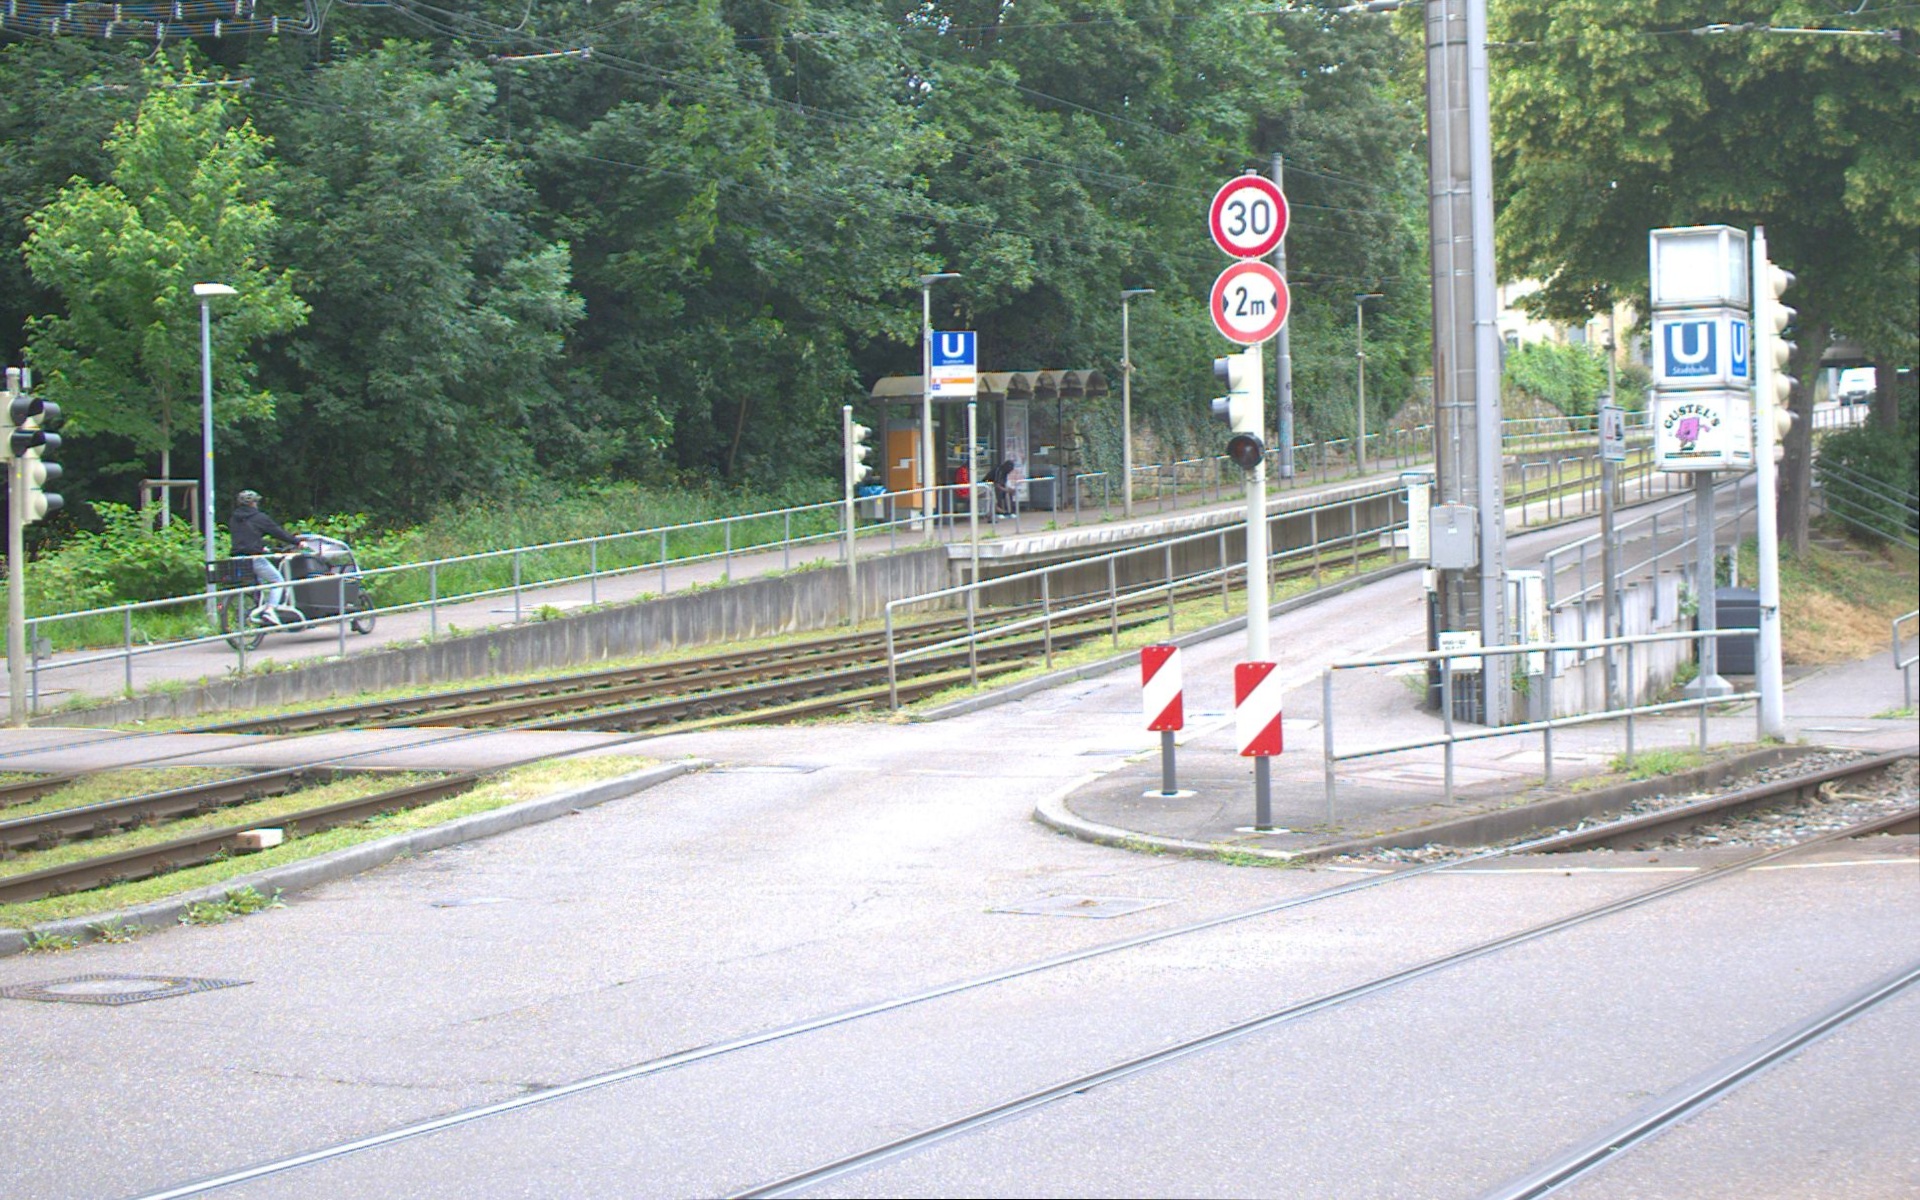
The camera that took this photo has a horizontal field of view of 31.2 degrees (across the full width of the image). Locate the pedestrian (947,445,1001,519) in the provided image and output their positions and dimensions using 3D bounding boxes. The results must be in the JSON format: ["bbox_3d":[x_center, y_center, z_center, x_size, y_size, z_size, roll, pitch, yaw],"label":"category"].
[{"bbox_3d":[0.265,-2.195,63.848,0.772,1.321,0.786,2,4,20],"label":"pedestrian"}]

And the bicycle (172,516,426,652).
[{"bbox_3d":[-7.506,-0.213,39.267,0.734,1.285,3.341,3,6,33],"label":"bicycle"}]

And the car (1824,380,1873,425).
[{"bbox_3d":[45.713,-10.127,176.858,1.995,2.138,3.996,2,2,20],"label":"car"}]

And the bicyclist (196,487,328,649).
[{"bbox_3d":[-7.847,-0.377,38.678,0.734,1.705,1.290,3,6,33],"label":"bicyclist"}]

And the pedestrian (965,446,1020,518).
[{"bbox_3d":[0.613,-2.226,64.860,0.772,1.321,0.786,2,2,20],"label":"pedestrian"}]
